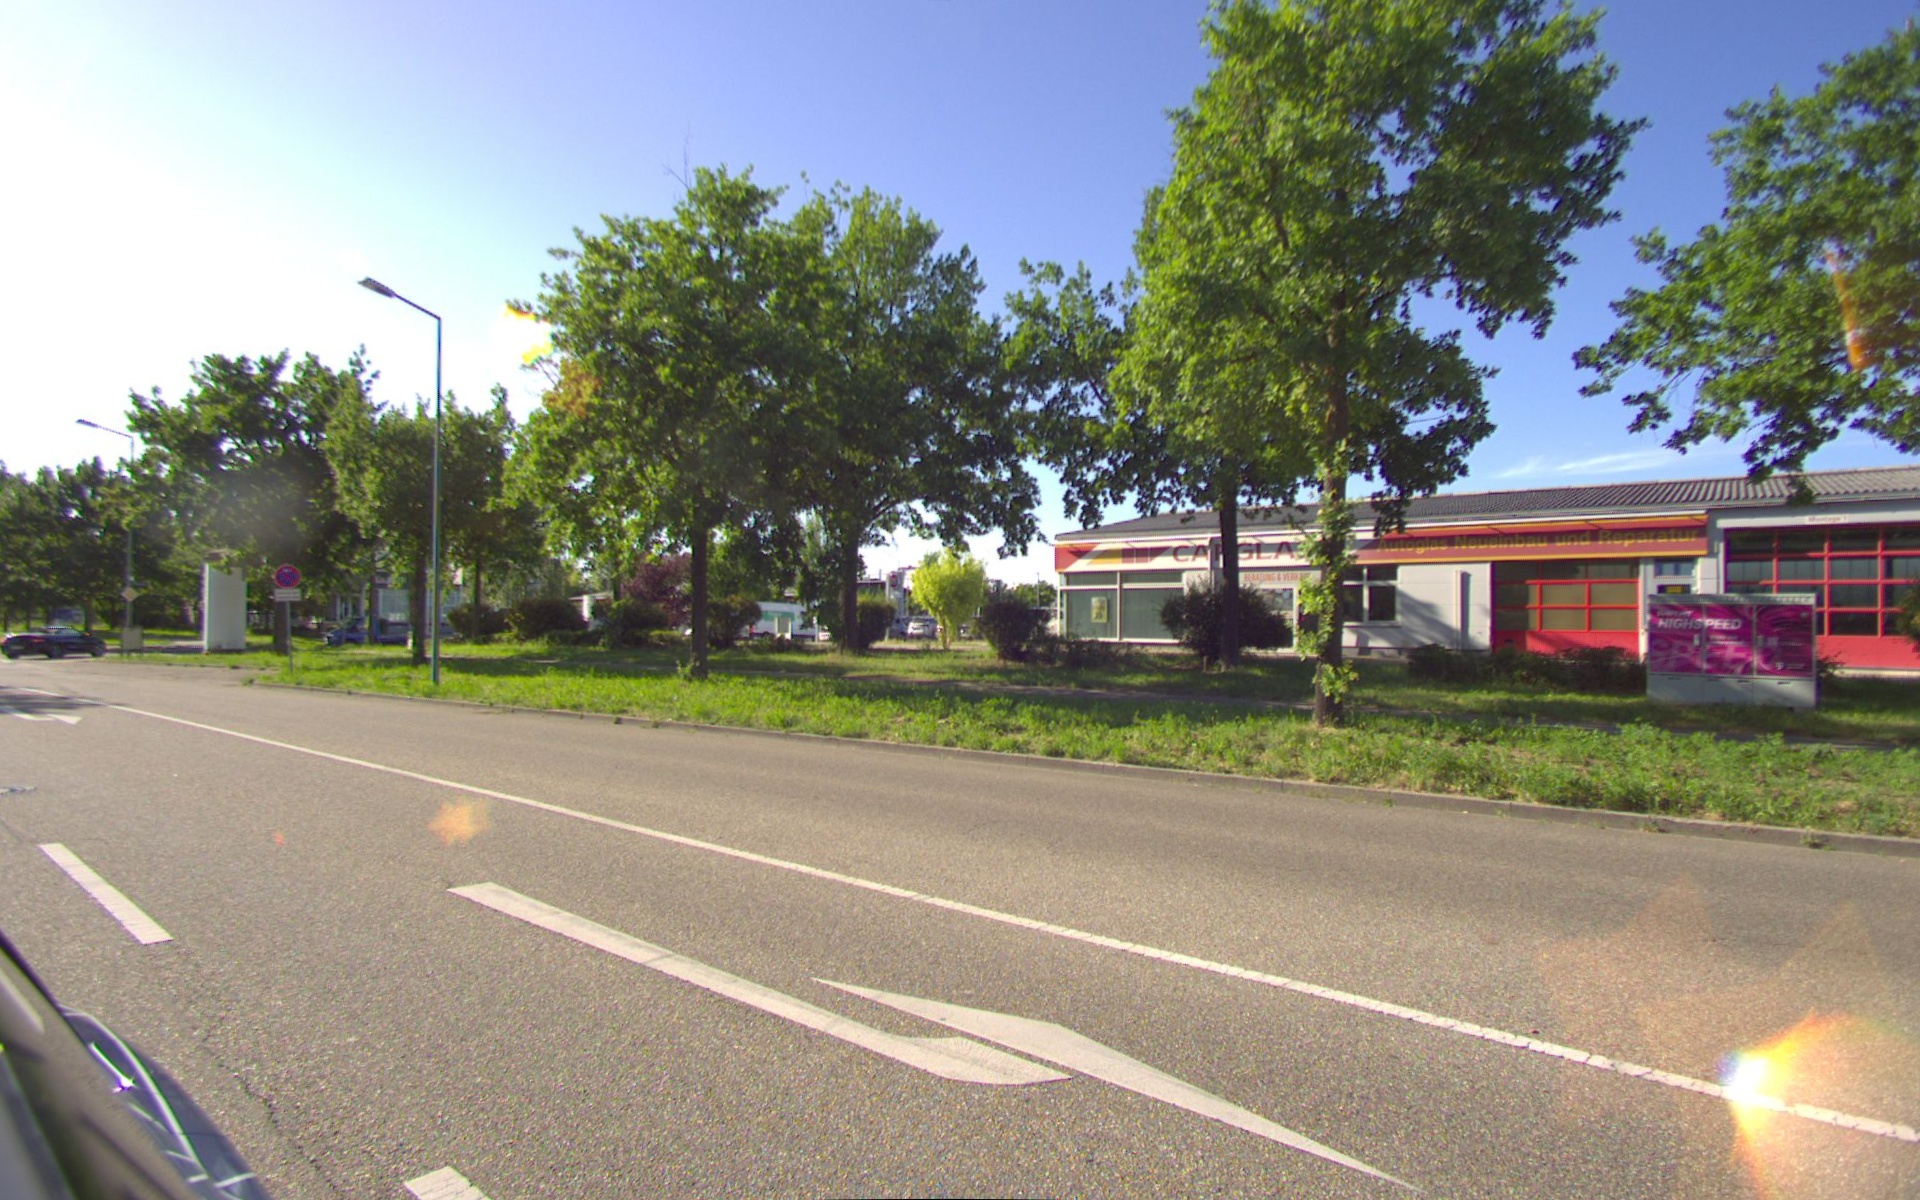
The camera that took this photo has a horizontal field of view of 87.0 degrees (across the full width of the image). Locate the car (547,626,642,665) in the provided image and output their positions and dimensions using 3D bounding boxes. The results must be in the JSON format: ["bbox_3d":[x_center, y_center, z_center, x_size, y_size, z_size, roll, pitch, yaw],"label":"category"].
[{"bbox_3d":[-26.635,3.241,73.978,2.297,2.535,6.280,0,0,37],"label":"car"}]

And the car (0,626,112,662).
[{"bbox_3d":[-38.907,1.907,43.127,1.969,1.414,4.594,2,-4,-7],"label":"car"}]

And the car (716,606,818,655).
[{"bbox_3d":[-11.491,1.735,60.659,2.297,2.723,6.102,0,0,37],"label":"car"}]

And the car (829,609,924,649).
[{"bbox_3d":[-4.568,1.590,56.097,2.297,2.085,5.359,-1,-2,37],"label":"car"}]

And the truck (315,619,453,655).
[{"bbox_3d":[-35.228,2.237,62.140,2.138,2.065,7.043,0,-2,38],"label":"truck"}]

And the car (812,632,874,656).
[{"bbox_3d":[-6.741,2.510,58.635,1.572,1.312,3.489,-1,-1,38],"label":"car"}]
